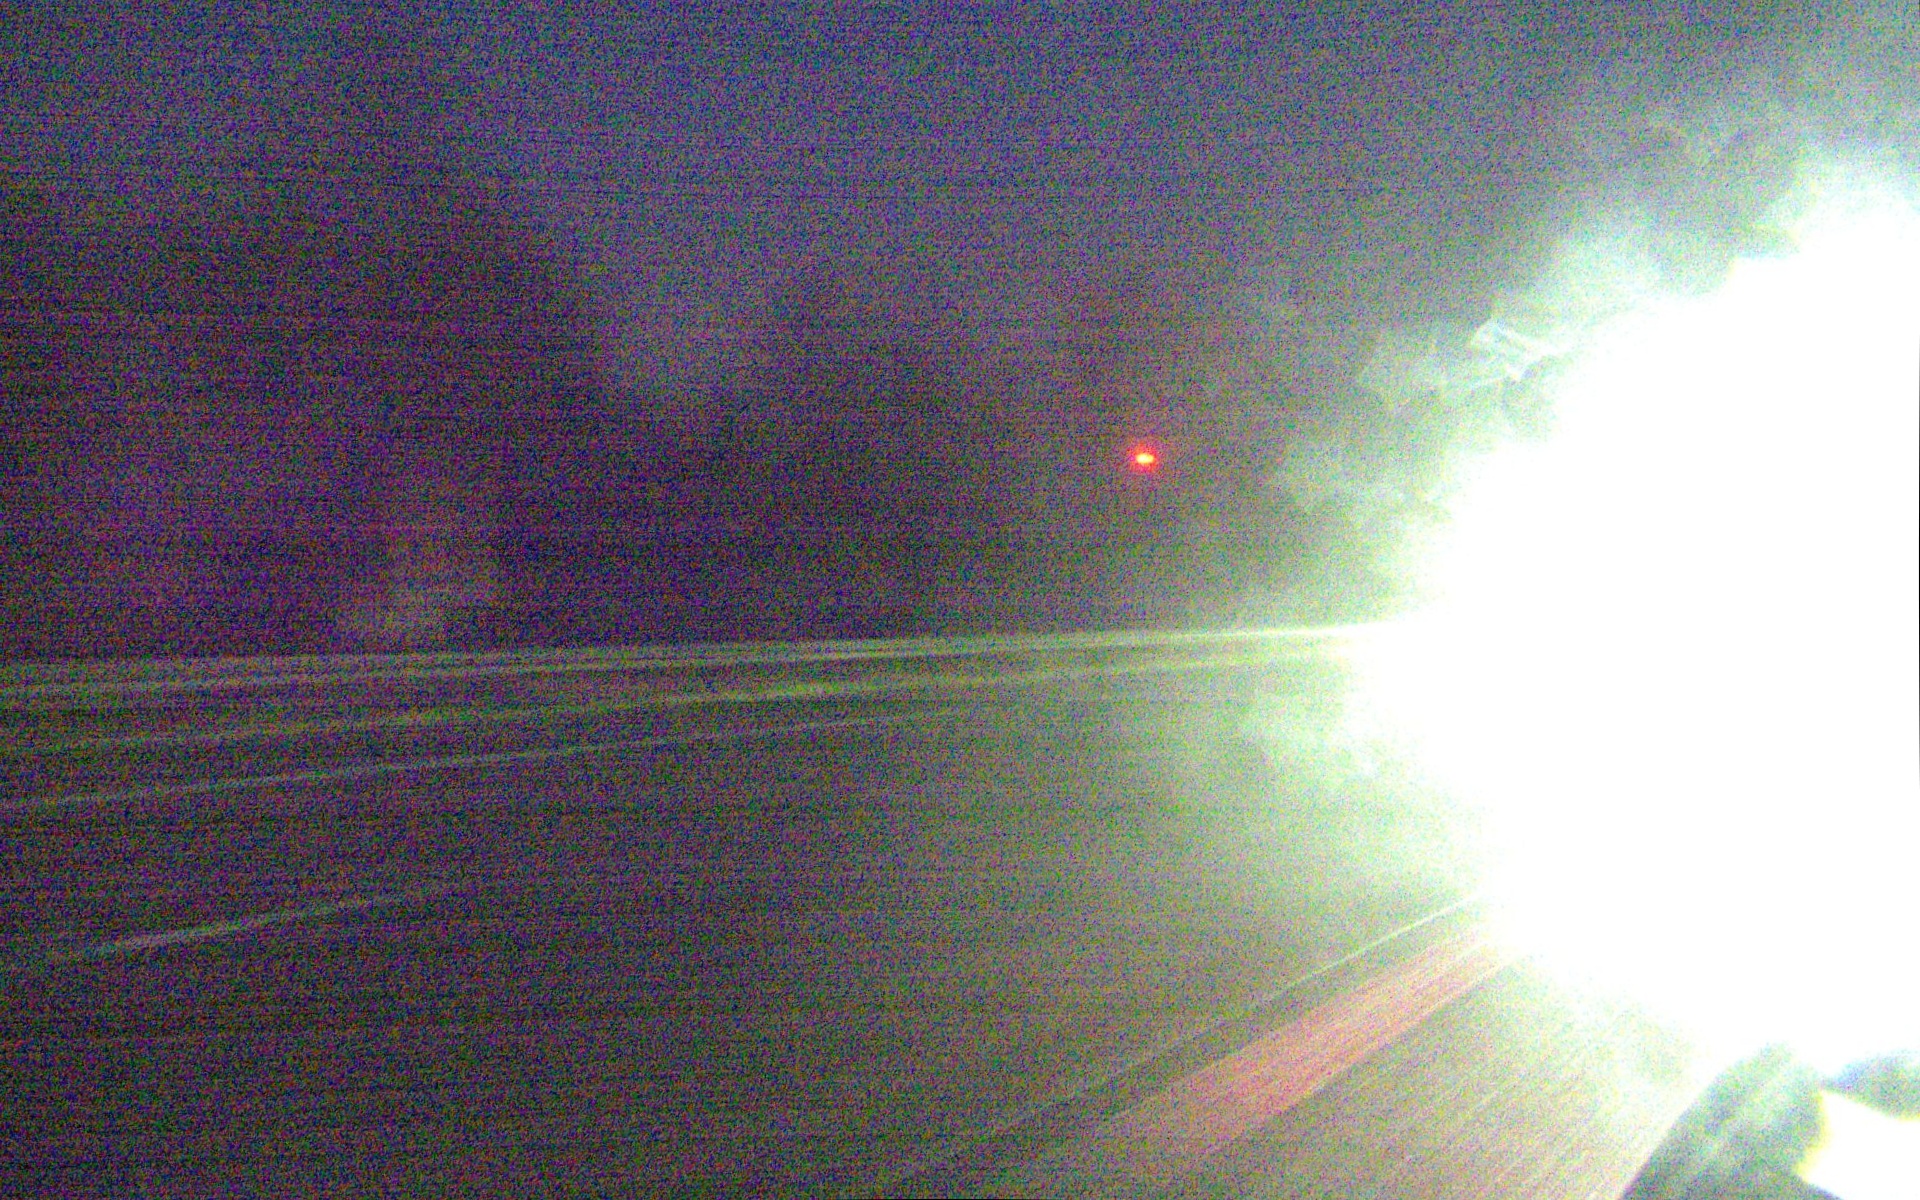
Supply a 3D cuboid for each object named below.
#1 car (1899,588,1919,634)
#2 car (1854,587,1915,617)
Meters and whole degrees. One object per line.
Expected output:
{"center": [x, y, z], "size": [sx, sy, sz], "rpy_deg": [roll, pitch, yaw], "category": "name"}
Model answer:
{"center": [37.882, 0.413, 39.240], "size": [3.931, 1.712, 1.791], "rpy_deg": [0, 1, -42], "category": "car"}
{"center": [52.612, 0.086, 57.565], "size": [4.570, 1.619, 1.998], "rpy_deg": [-1, 1, -40], "category": "car"}
